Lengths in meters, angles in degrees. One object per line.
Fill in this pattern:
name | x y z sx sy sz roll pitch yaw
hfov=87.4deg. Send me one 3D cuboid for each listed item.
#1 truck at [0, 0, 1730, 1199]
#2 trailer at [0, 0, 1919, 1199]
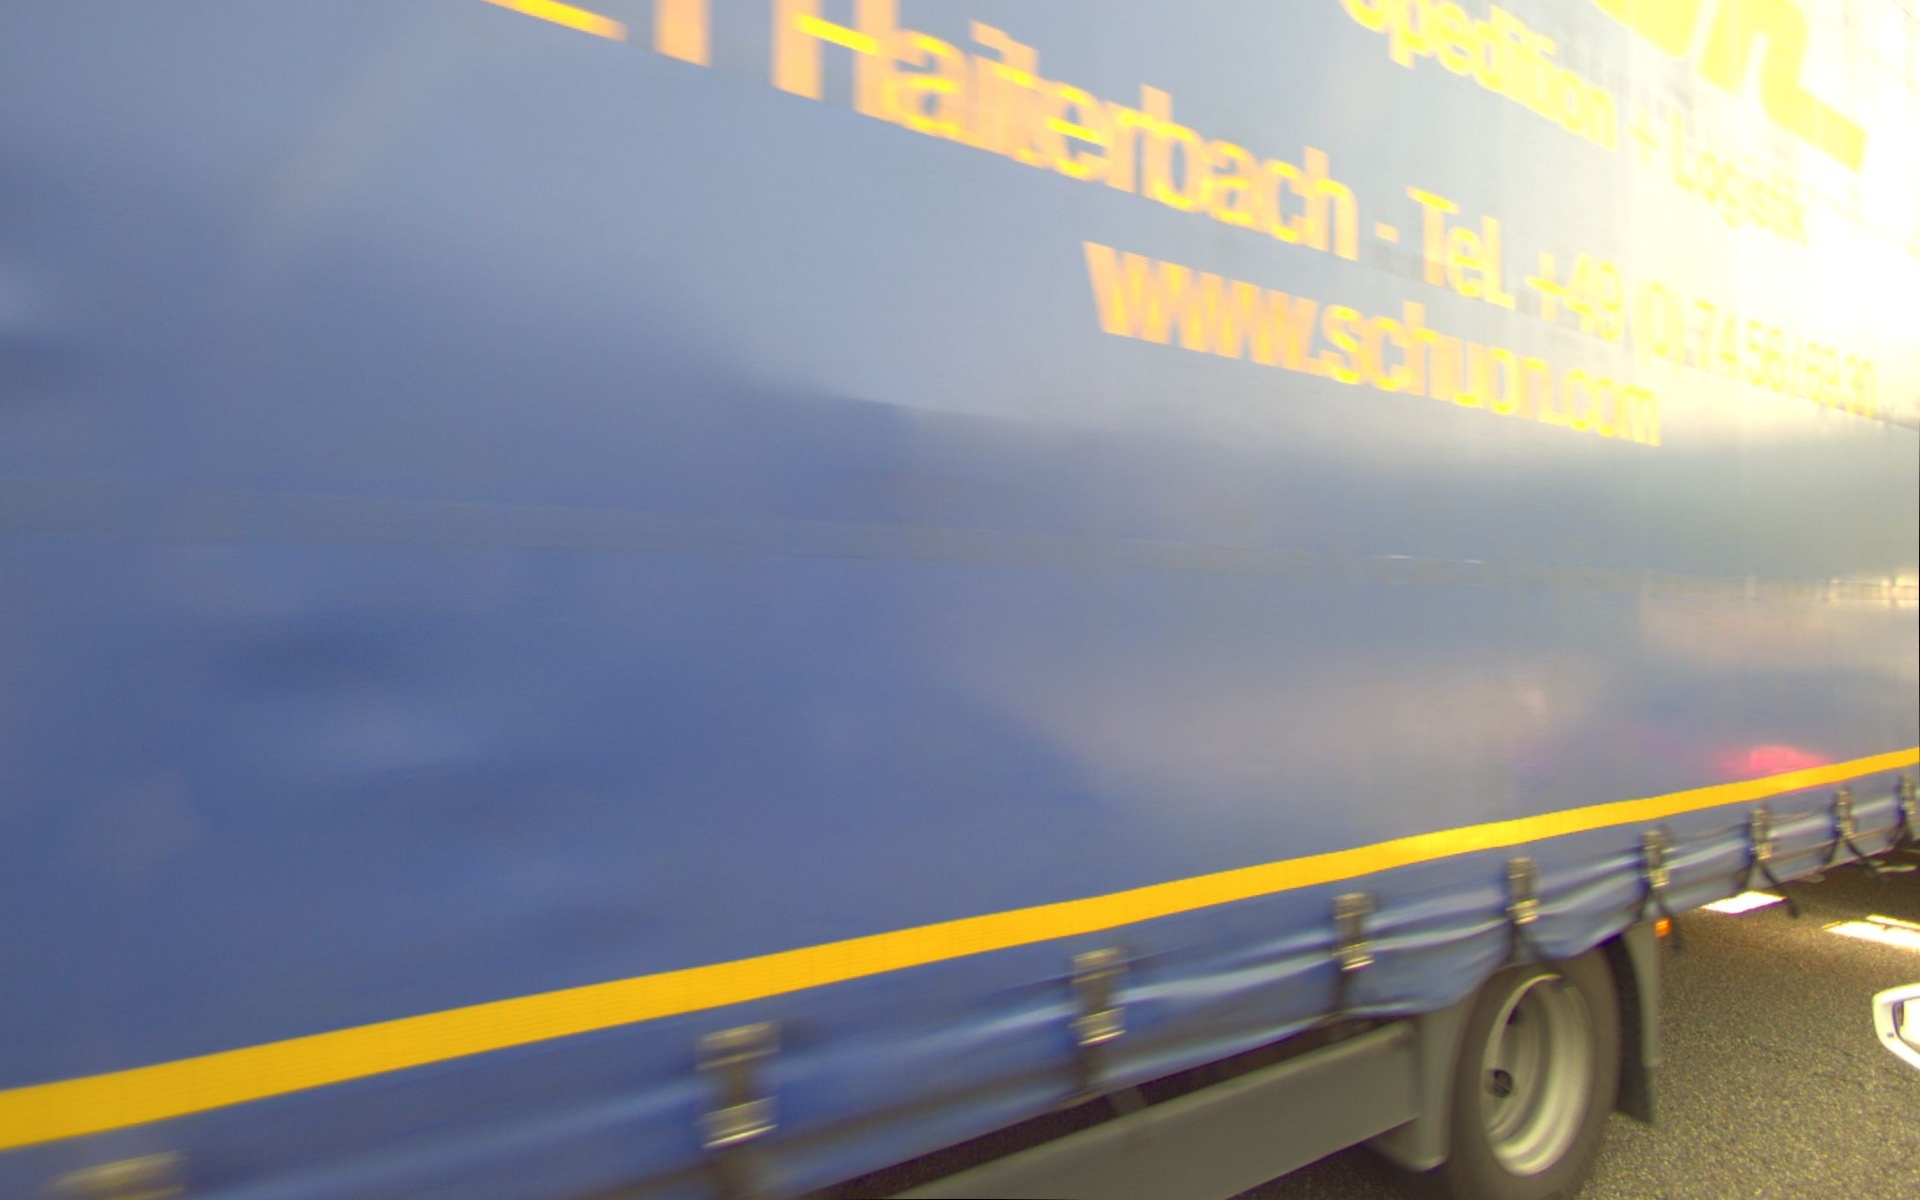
truck | -2.021 -0.857 1.798 6.492 4.456 3.173 -1 1 -30
trailer | 4.944 -0.610 5.923 15.136 4.477 3.243 0 1 -31
